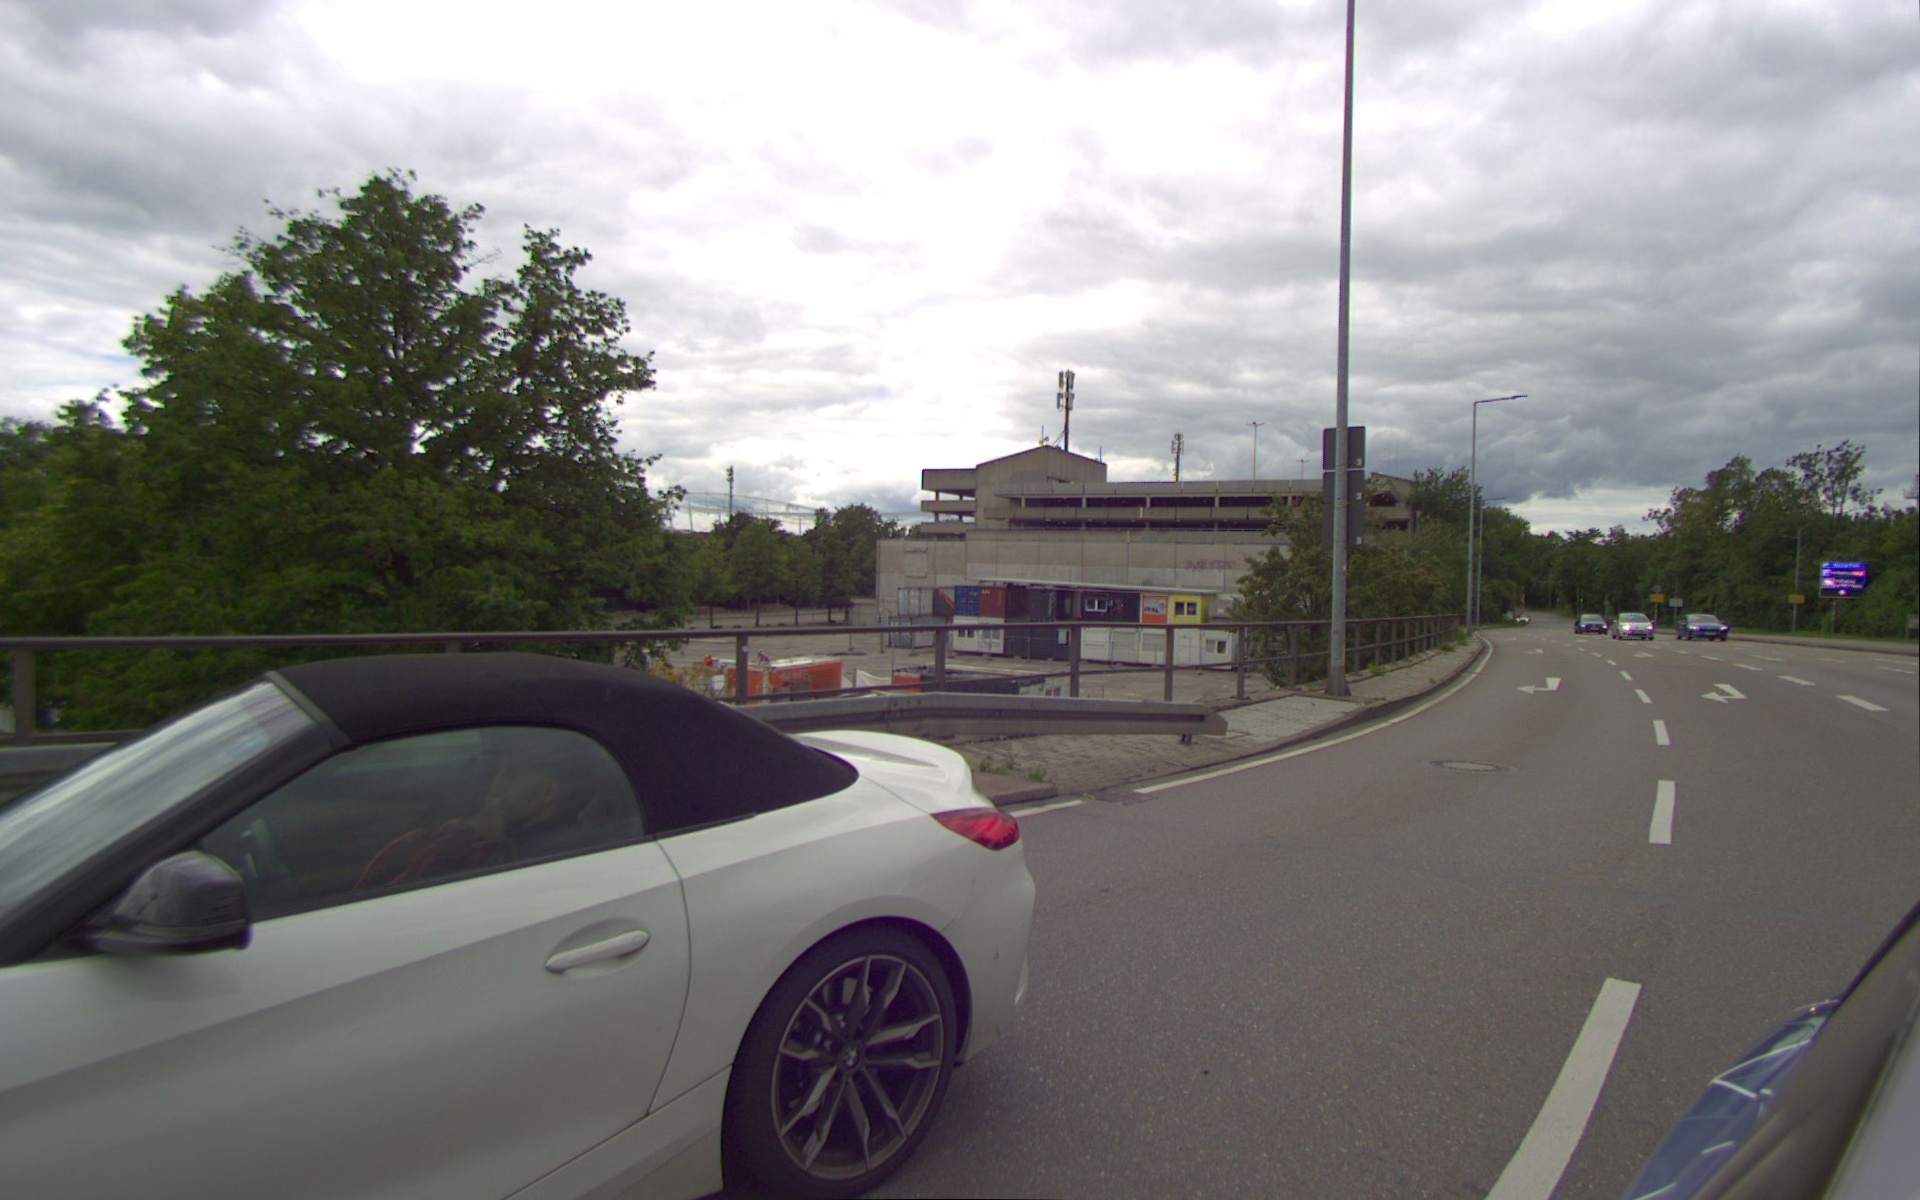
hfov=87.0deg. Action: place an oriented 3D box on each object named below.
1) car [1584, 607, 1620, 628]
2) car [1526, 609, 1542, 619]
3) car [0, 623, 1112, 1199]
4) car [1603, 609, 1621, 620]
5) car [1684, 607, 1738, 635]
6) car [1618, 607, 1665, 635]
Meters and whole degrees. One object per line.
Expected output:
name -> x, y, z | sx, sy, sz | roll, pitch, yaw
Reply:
car -> 45.793, 1.244, 72.224 | 1.849, 1.434, 4.295 | 1, 0, 28
car -> 87.283, 2.058, 153.907 | 1.848, 1.434, 4.297 | 1, 0, 27
car -> -1.734, 0.755, 2.400 | 4.186, 1.308, 1.809 | 0, 0, -39
car -> 90.754, 1.971, 140.945 | 1.687, 1.482, 3.963 | -1, 0, 26
car -> 41.329, 1.122, 55.768 | 1.828, 1.434, 4.531 | 1, 0, 30
car -> 37.181, 1.126, 55.251 | 1.594, 1.434, 3.559 | 1, 0, 26
